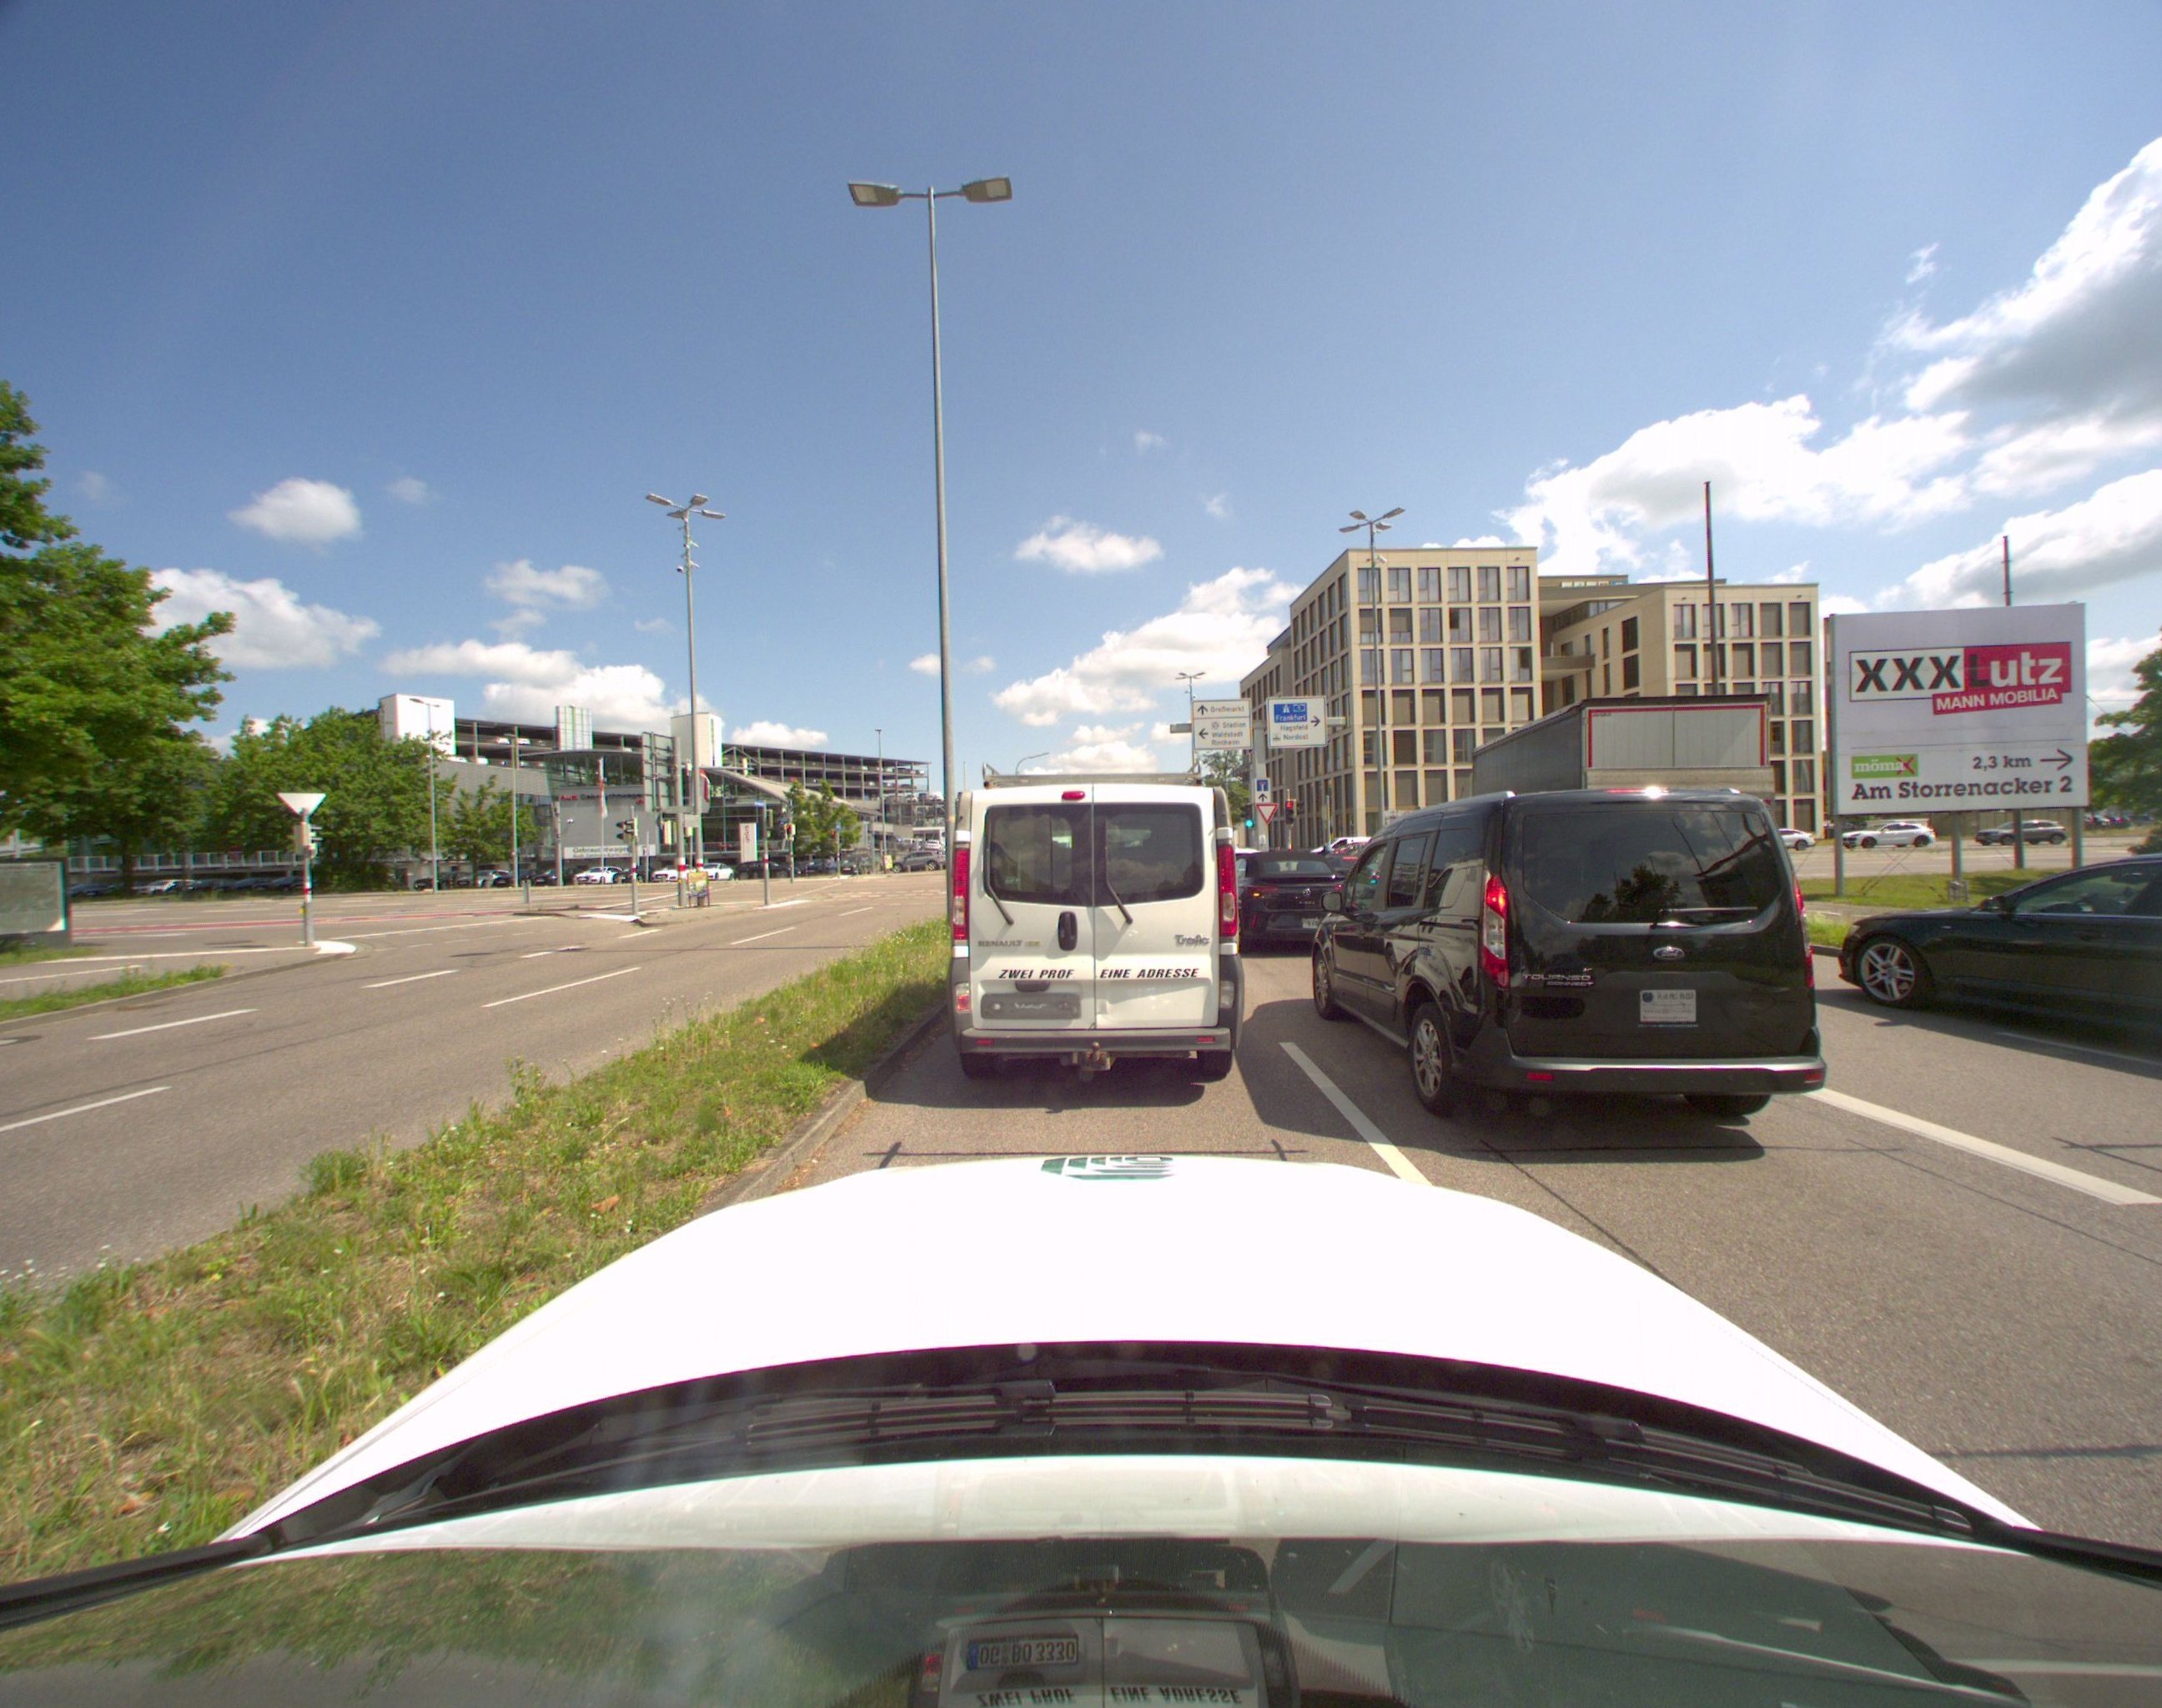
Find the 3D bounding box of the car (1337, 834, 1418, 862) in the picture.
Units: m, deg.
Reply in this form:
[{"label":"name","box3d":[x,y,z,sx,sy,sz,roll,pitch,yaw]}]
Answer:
[{"label":"car","box3d":[17.724,-0.372,48.746,4.192,1.627,1.824,0,-1,-6]}]

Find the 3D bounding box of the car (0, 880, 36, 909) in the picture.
[{"label":"car","box3d":[-77.841,2.903,57.632,1.896,2.049,4.585,0,-1,-3]}]

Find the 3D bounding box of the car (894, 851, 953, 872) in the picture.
[{"label":"car","box3d":[-13.094,0.652,67.808,4.562,1.678,1.906,0,-1,-2]}]

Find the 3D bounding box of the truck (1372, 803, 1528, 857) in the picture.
[{"label":"truck","box3d":[25.316,-1.633,56.039,9.737,3.555,2.670,0,-1,-6]}]

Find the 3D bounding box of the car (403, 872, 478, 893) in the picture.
[{"label":"car","box3d":[-46.194,2.058,58.899,1.896,1.405,4.585,0,-2,-3]}]

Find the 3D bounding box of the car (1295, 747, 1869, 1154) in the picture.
[{"label":"car","box3d":[2.890,0.461,5.866,1.816,1.905,4.003,-1,0,3]}]

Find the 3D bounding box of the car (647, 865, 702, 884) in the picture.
[{"label":"car","box3d":[-29.773,1.495,59.864,1.896,1.297,4.585,0,0,-3]}]

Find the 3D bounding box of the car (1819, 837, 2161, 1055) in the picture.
[{"label":"car","box3d":[8.235,0.612,5.851,1.767,1.478,4.682,-1,0,2]}]

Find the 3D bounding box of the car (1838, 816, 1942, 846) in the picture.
[{"label":"car","box3d":[54.048,-1.506,54.483,4.667,1.838,1.834,-1,-1,12]}]

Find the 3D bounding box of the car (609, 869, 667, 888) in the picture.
[{"label":"car","box3d":[-32.331,1.780,59.621,1.896,1.297,4.585,0,0,-3]}]

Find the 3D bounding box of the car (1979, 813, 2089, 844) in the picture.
[{"label":"car","box3d":[61.610,-1.621,52.742,4.401,1.838,1.834,-1,-1,12]}]

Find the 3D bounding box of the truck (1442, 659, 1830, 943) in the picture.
[{"label":"truck","box3d":[9.985,-0.716,16.329,3.191,4.027,9.100,-1,-1,12]}]

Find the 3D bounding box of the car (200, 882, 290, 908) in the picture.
[{"label":"car","box3d":[-60.108,2.938,58.685,1.896,1.678,4.585,0,-1,-3]}]

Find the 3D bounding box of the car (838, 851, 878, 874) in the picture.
[{"label":"car","box3d":[-16.605,0.621,60.747,1.896,1.678,4.585,0,-1,-3]}]

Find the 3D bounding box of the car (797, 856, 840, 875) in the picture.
[{"label":"car","box3d":[-19.476,0.838,60.647,1.896,1.297,4.585,0,0,-3]}]

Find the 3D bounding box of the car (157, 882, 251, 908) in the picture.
[{"label":"car","box3d":[-62.589,2.896,58.240,1.896,1.678,4.585,0,-1,-3]}]

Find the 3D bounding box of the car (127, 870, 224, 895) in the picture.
[{"label":"car","box3d":[-64.719,1.996,58.334,1.896,1.678,4.585,0,-1,-3]}]

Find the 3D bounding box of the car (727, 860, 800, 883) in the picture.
[{"label":"car","box3d":[-23.608,1.293,60.648,4.731,1.464,1.793,-2,-3,-4]}]

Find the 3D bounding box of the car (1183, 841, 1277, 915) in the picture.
[{"label":"car","box3d":[3.588,0.537,20.266,1.766,1.629,4.003,-1,0,3]}]

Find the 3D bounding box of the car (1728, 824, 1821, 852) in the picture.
[{"label":"car","box3d":[47.292,-1.063,55.613,4.691,1.838,1.829,0,-1,2]}]

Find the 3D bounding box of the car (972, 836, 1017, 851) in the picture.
[{"label":"car","box3d":[-12.348,-1.486,116.513,6.373,2.102,1.763,0,-1,-4]}]

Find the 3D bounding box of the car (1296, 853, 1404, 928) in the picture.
[{"label":"car","box3d":[6.701,1.030,20.757,1.849,1.656,4.225,-1,-6,8]}]

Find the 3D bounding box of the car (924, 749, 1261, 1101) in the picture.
[{"label":"car","box3d":[0.138,0.419,7.112,1.965,2.060,4.566,-1,0,2]}]

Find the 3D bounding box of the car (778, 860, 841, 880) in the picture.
[{"label":"car","box3d":[-23.377,1.369,70.177,4.731,1.511,1.982,-2,-3,-4]}]

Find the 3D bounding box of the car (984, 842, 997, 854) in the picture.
[{"label":"car","box3d":[-12.074,-0.781,109.064,1.557,1.552,3.598,-1,0,-3]}]

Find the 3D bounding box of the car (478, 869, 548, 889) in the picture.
[{"label":"car","box3d":[-40.722,1.809,58.543,1.896,1.384,4.584,0,-2,-3]}]

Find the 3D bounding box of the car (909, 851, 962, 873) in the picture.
[{"label":"car","box3d":[-13.575,0.744,76.021,4.562,1.677,1.906,-3,2,-2]}]

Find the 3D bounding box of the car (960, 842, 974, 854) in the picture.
[{"label":"car","box3d":[-15.302,-0.784,109.606,1.557,1.552,3.598,0,-1,-3]}]

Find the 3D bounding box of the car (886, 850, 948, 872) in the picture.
[{"label":"car","box3d":[-13.120,0.572,65.207,4.562,1.678,1.906,0,-1,-2]}]

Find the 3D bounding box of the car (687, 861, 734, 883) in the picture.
[{"label":"car","box3d":[-27.262,1.353,60.035,1.786,1.464,3.995,-2,-3,-3]}]

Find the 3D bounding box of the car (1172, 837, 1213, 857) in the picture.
[{"label":"car","box3d":[11.707,-0.702,85.528,3.982,2.014,1.996,0,-1,-7]}]

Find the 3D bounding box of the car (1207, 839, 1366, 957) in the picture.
[{"label":"car","box3d":[3.185,0.610,13.406,1.766,1.629,4.003,-1,0,3]}]

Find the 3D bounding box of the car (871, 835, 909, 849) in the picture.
[{"label":"car","box3d":[-24.487,-1.509,104.401,4.432,1.801,1.762,0,-1,-4]}]

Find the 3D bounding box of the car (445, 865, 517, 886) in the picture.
[{"label":"car","box3d":[-43.398,1.604,59.037,1.896,1.405,4.584,0,-3,-3]}]

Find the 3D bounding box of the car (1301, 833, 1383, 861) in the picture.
[{"label":"car","box3d":[17.728,-0.460,55.424,4.969,1.838,1.996,0,-1,-6]}]

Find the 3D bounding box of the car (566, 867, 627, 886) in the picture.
[{"label":"car","box3d":[-35.268,1.605,59.427,1.896,1.297,4.585,0,0,-3]}]
